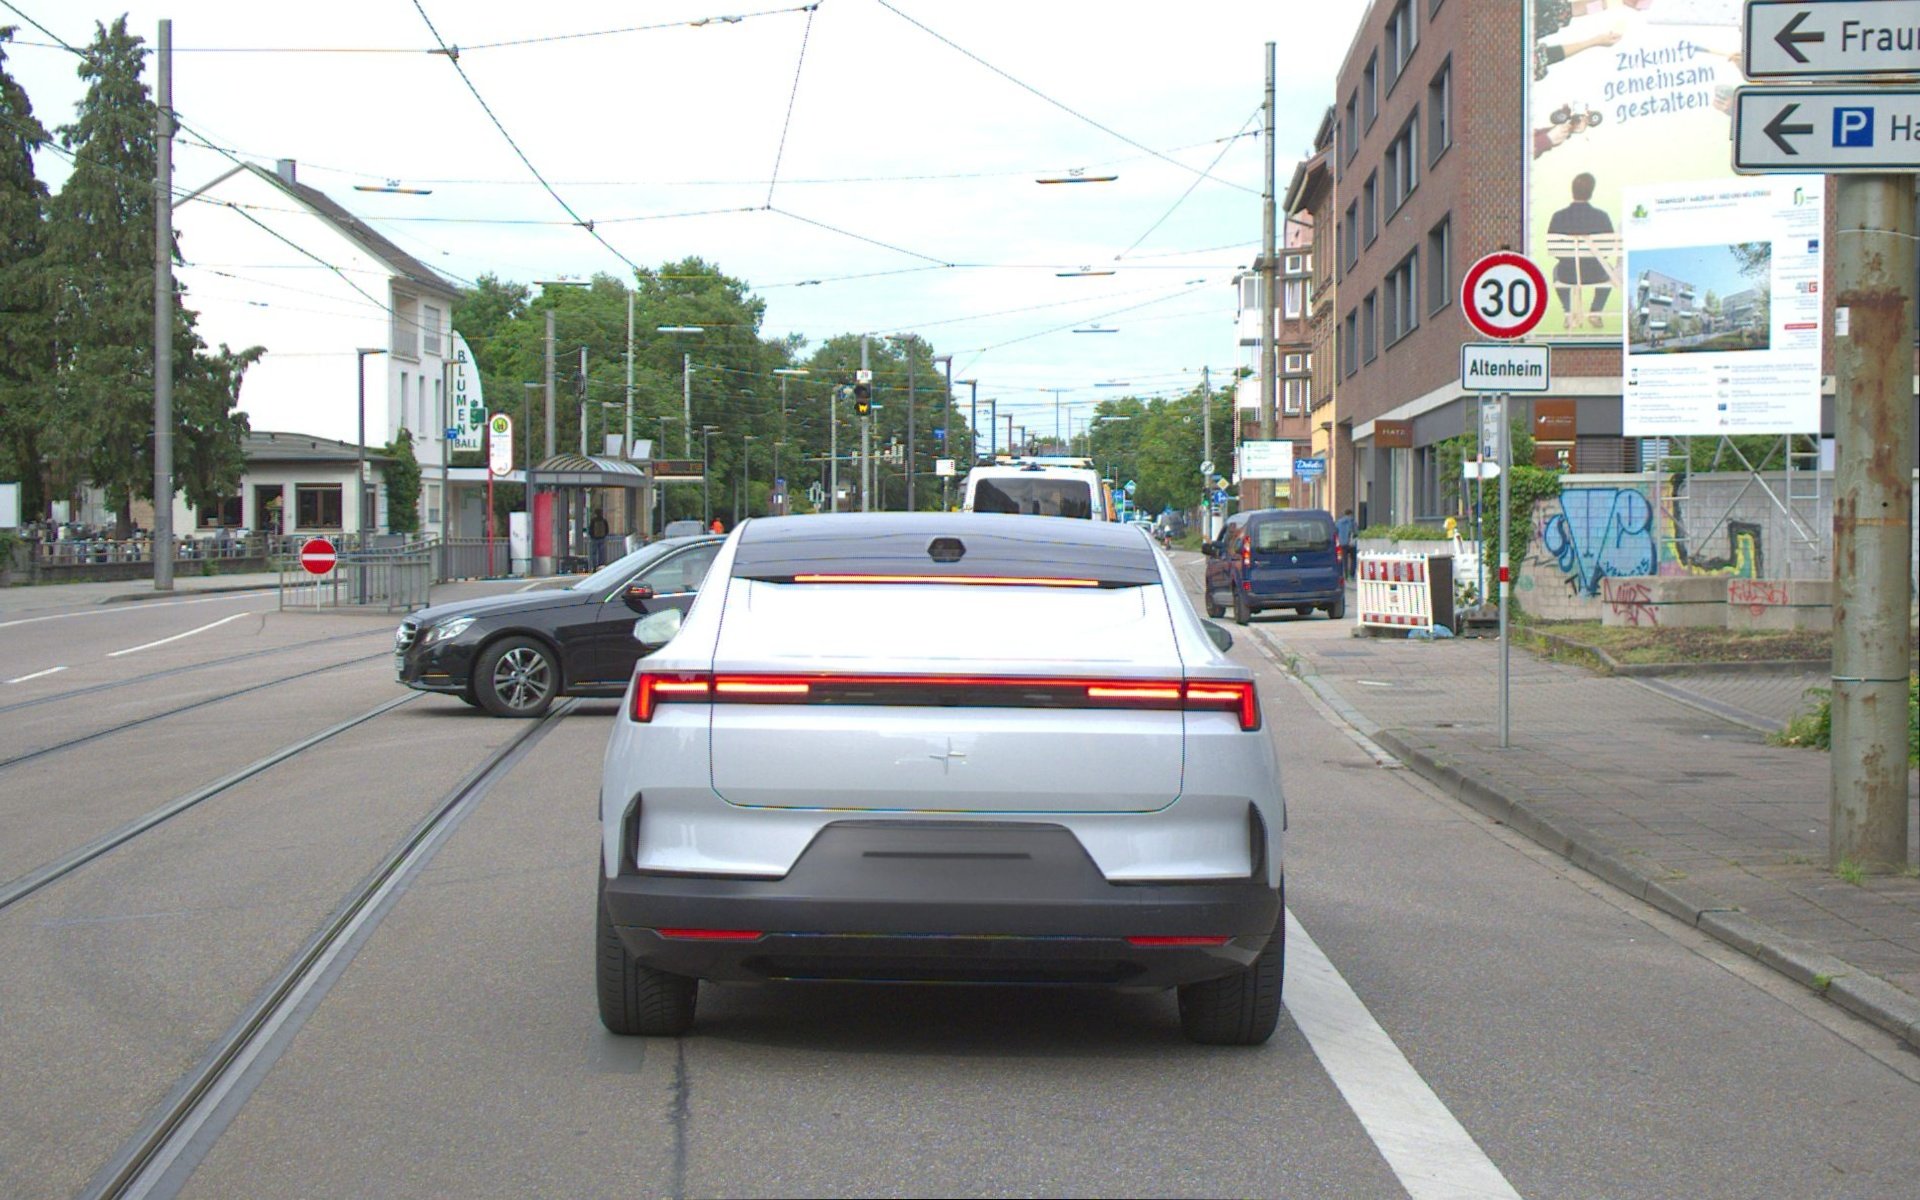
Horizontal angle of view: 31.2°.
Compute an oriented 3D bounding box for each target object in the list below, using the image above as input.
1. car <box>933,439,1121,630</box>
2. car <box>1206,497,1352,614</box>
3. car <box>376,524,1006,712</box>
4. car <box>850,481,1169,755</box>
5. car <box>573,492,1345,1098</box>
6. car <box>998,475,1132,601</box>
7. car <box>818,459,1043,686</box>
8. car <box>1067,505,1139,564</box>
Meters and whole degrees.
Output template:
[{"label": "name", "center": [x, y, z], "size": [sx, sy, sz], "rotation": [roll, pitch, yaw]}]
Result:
[{"label": "car", "center": [0.844, -0.875, 46.830], "size": [2.216, 2.415, 4.952], "rotation": [1, 1, -2]}, {"label": "car", "center": [5.200, -0.732, 56.524], "size": [1.874, 1.817, 4.097], "rotation": [1, 1, -2]}, {"label": "car", "center": [-2.191, 0.106, 27.535], "size": [4.869, 1.422, 1.953], "rotation": [0, 1, -9]}, {"label": "car", "center": [0.268, 0.094, 24.454], "size": [1.968, 1.750, 3.838], "rotation": [1, 1, -3]}, {"label": "car", "center": [-0.157, 0.468, 11.064], "size": [1.981, 1.544, 4.184], "rotation": [1, 1, -4]}, {"label": "car", "center": [1.858, -1.117, 62.361], "size": [2.139, 2.138, 4.744], "rotation": [1, 1, -1]}, {"label": "car", "center": [-0.347, -0.273, 33.090], "size": [1.993, 2.007, 4.000], "rotation": [1, 1, -2]}, {"label": "car", "center": [5.019, -2.304, 121.281], "size": [1.993, 2.007, 4.001], "rotation": [1, 1, -5]}]
